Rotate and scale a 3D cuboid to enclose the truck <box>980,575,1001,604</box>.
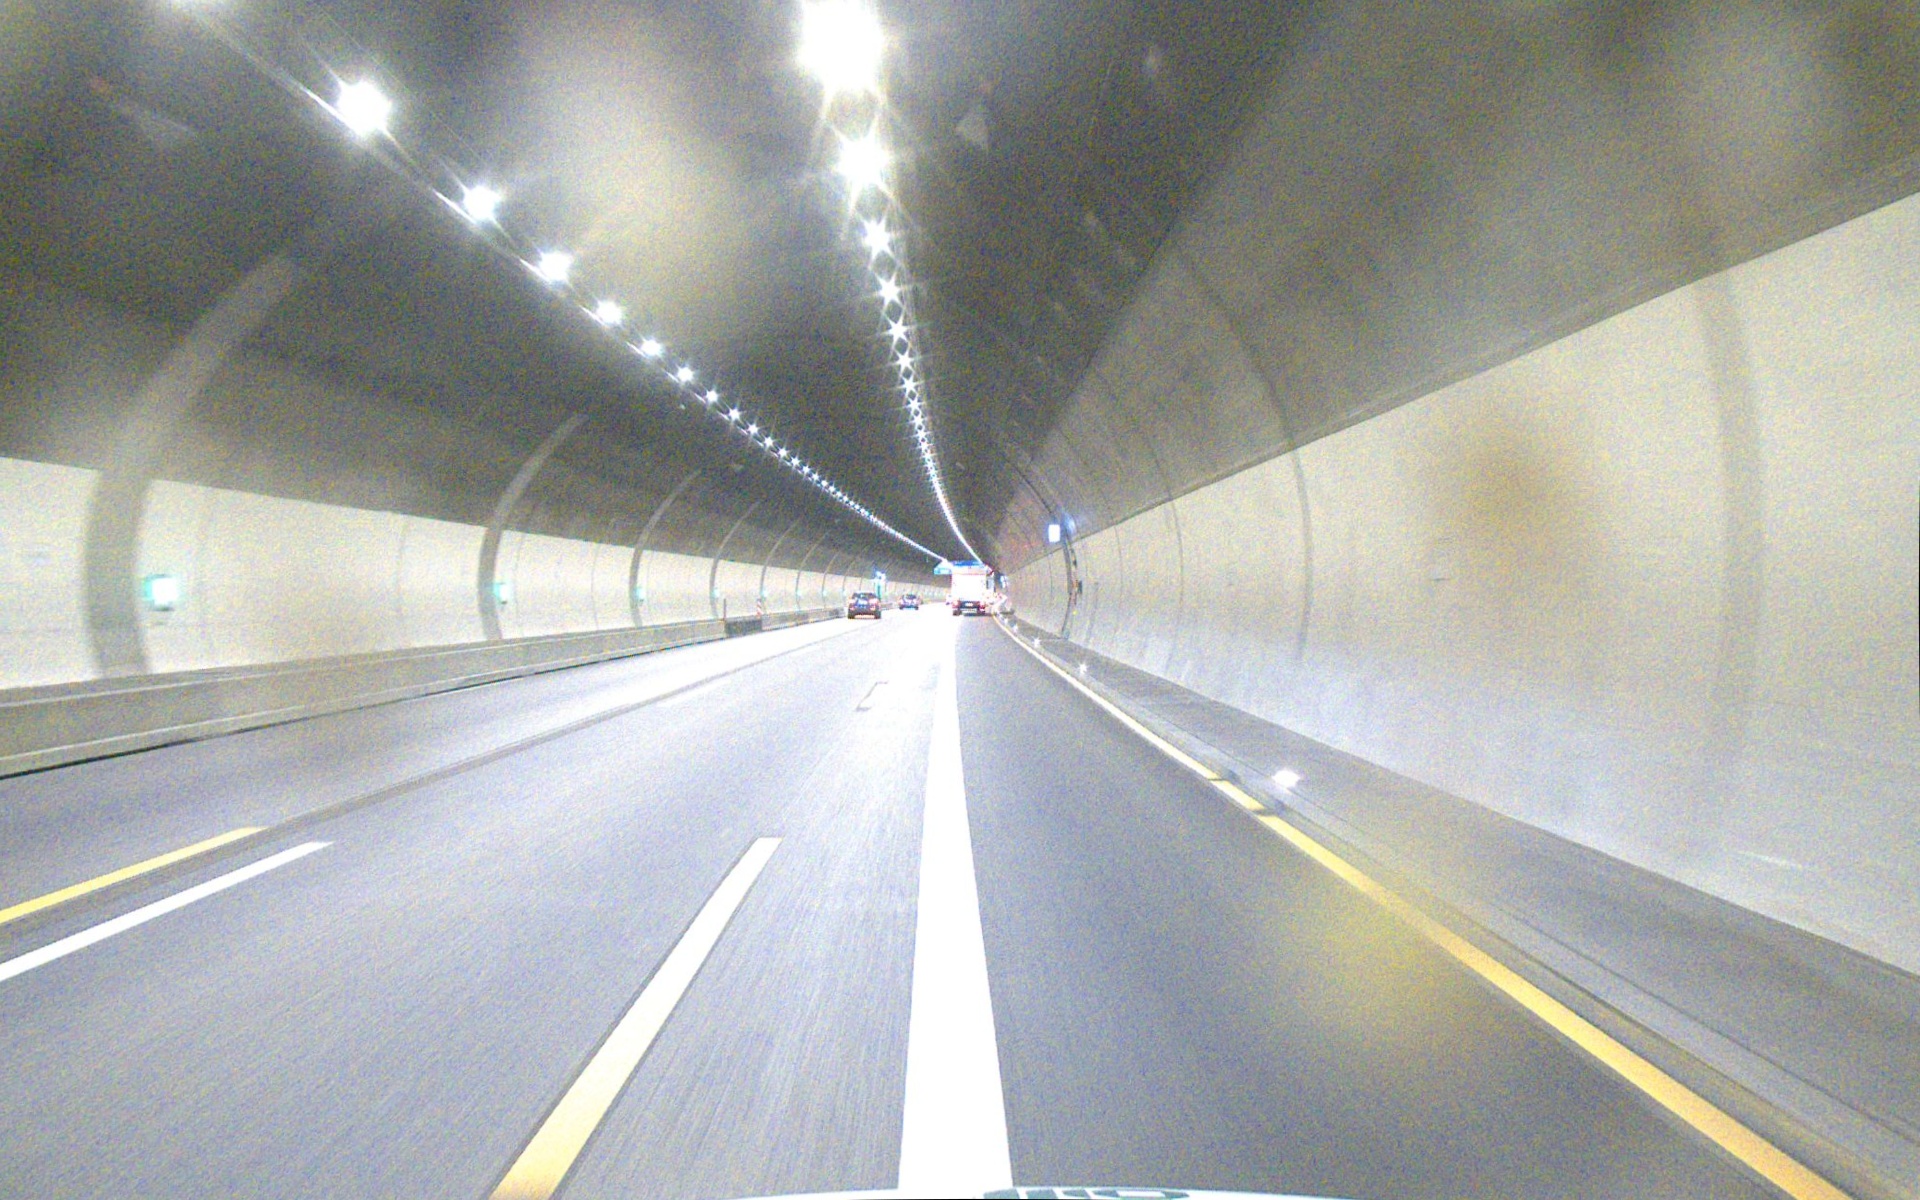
[{"bbox_3d":[4.605,-1.542,248.421,2.863,4.118,14.029,-1,0,0],"label":"truck"}]

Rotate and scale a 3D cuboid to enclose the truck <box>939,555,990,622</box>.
[{"bbox_3d":[0.216,-0.819,126.349,3.212,4.731,17.280,-1,0,-2],"label":"truck"}]

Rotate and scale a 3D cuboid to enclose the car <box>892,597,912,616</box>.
[{"bbox_3d":[-5.378,0.583,152.752,1.776,1.546,3.999,1,2,-2],"label":"car"}]

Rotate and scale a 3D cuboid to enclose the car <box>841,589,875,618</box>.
[{"bbox_3d":[-5.956,0.170,97.197,1.776,1.646,3.999,1,0,-1],"label":"car"}]
